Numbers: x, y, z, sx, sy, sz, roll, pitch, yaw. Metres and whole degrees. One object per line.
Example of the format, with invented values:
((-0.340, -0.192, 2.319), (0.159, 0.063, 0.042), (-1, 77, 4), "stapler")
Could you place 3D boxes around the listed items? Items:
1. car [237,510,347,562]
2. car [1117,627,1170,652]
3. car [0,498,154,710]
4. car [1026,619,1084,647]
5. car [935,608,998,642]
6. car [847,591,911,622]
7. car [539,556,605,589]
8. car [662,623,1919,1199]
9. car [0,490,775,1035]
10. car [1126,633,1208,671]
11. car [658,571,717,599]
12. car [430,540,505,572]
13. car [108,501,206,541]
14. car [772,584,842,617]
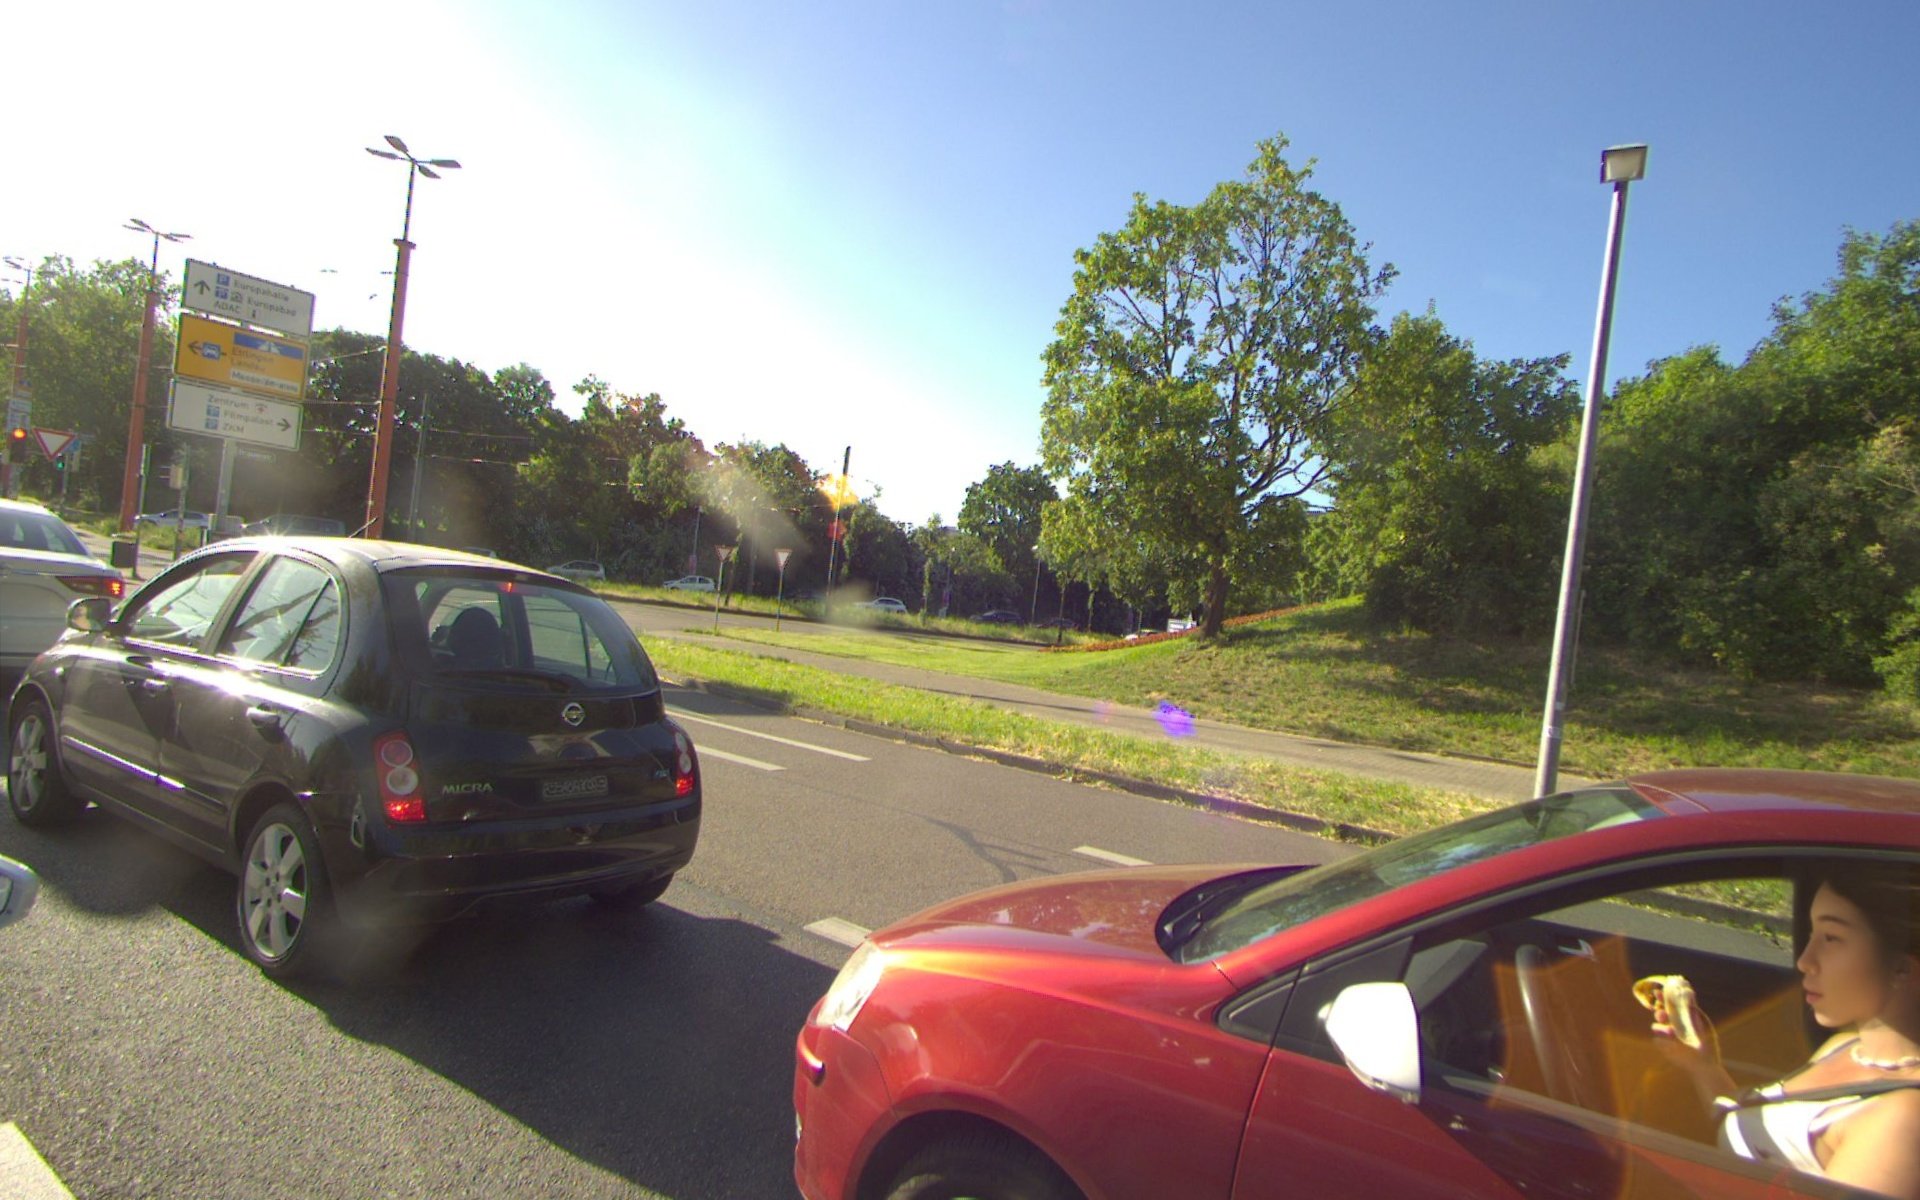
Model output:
((-35.003, -3.336, 52.879), (4.535, 2.038, 1.985), (8, -1, -30), "car")
((15.115, 3.224, 82.862), (3.970, 1.546, 1.694), (8, -1, -30), "car")
((-8.350, -0.172, 8.011), (4.130, 1.454, 1.723), (7, -1, 33), "car")
((7.753, 2.722, 82.132), (4.257, 1.725, 1.833), (8, -1, -29), "car")
((0.501, 1.841, 72.553), (4.169, 1.906, 1.750), (8, -1, -35), "car")
((-5.923, 0.475, 73.833), (4.195, 1.701, 1.690), (8, -1, -29), "car")
((-23.064, -1.617, 59.854), (3.371, 1.475, 1.452), (8, -1, -32), "car")
((1.387, 1.018, 1.884), (3.700, 1.455, 1.644), (6, -2, 33), "car")
((-2.836, 0.468, 4.704), (3.555, 1.518, 1.657), (7, -2, 32), "car")
((11.074, 2.780, 53.763), (4.086, 1.469, 1.725), (7, 2, -30), "car")
((-18.050, -0.980, 66.690), (3.413, 1.384, 1.280), (9, -2, -31), "car")
((-29.268, -2.588, 59.824), (3.804, 1.278, 1.590), (9, -3, -32), "car")
((-41.706, -4.077, 52.368), (3.710, 1.491, 1.587), (8, -1, -32), "car")
((-10.132, 0.030, 66.592), (4.000, 1.615, 1.981), (8, -1, -35), "car")
